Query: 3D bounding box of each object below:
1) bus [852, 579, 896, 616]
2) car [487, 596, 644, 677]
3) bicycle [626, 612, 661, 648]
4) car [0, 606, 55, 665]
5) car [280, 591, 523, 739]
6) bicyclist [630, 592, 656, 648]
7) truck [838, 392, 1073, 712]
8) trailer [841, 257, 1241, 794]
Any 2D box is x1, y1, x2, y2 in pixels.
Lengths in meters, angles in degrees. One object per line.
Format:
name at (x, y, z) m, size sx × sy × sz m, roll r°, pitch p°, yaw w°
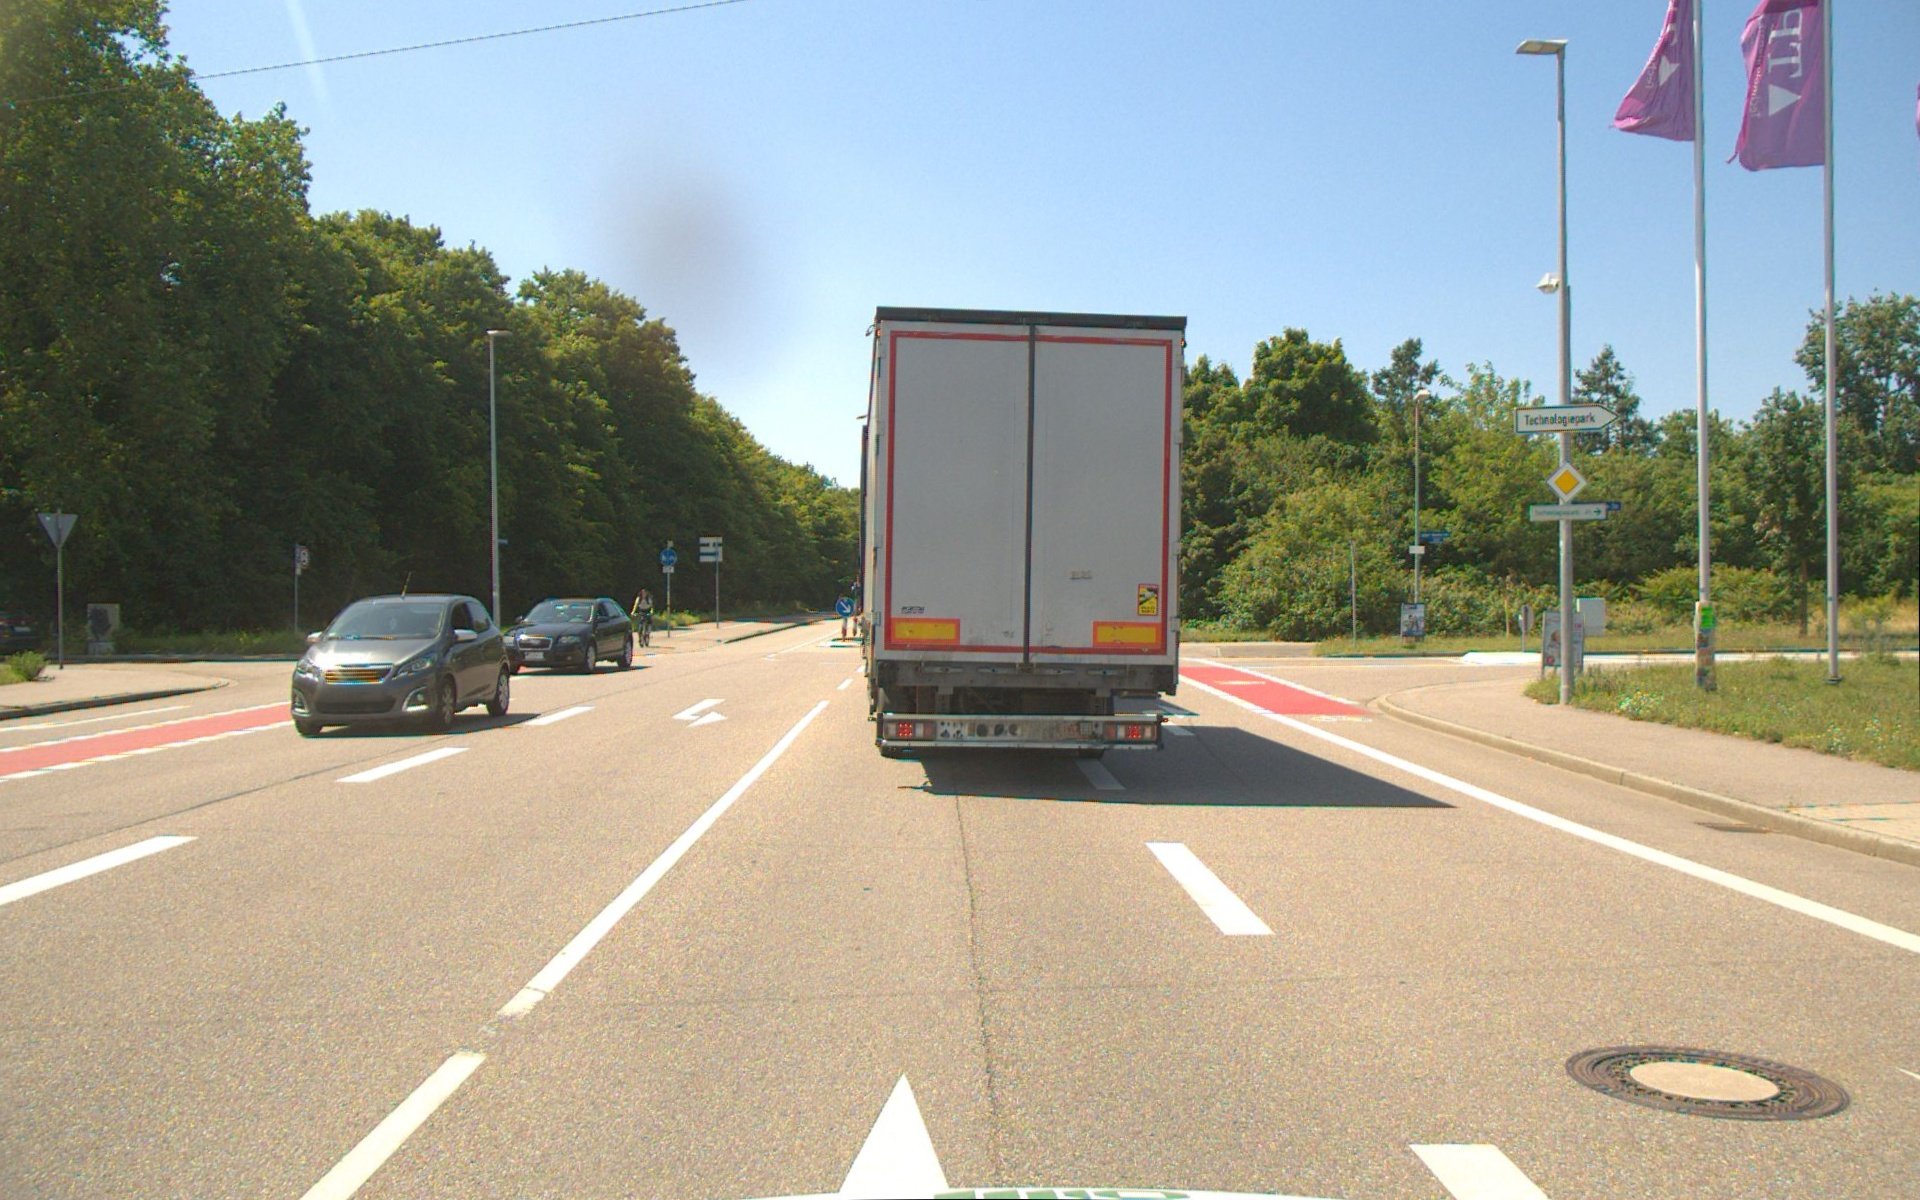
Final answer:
bus at (-7.718, -0.291, 149.763) m, size 2.692 × 3.098 × 11.943 m, roll -2°, pitch 1°, yaw 3°
car at (-7.817, 0.680, 33.204) m, size 1.707 × 1.430 × 4.444 m, roll 0°, pitch 1°, yaw 6°
bicycle at (-9.944, 0.924, 52.033) m, size 0.655 × 1.073 × 2.045 m, roll 0°, pitch 1°, yaw 1°
car at (-25.519, 0.923, 42.067) m, size 4.207 × 1.442 × 1.668 m, roll -1°, pitch -1°, yaw 8°
car at (-6.244, 0.671, 18.873) m, size 1.589 × 1.481 × 3.501 m, roll -2°, pitch 0°, yaw -1°
bicyclist at (-9.941, 0.629, 51.899) m, size 0.651 × 1.735 × 0.769 m, roll 1°, pitch 0°, yaw 1°
truck at (-0.339, -0.638, 25.561) m, size 3.017 × 4.141 × 7.951 m, roll 1°, pitch 0°, yaw -5°
trailer at (0.297, -0.583, 17.782) m, size 3.017 × 4.141 × 9.799 m, roll 1°, pitch 0°, yaw -5°
